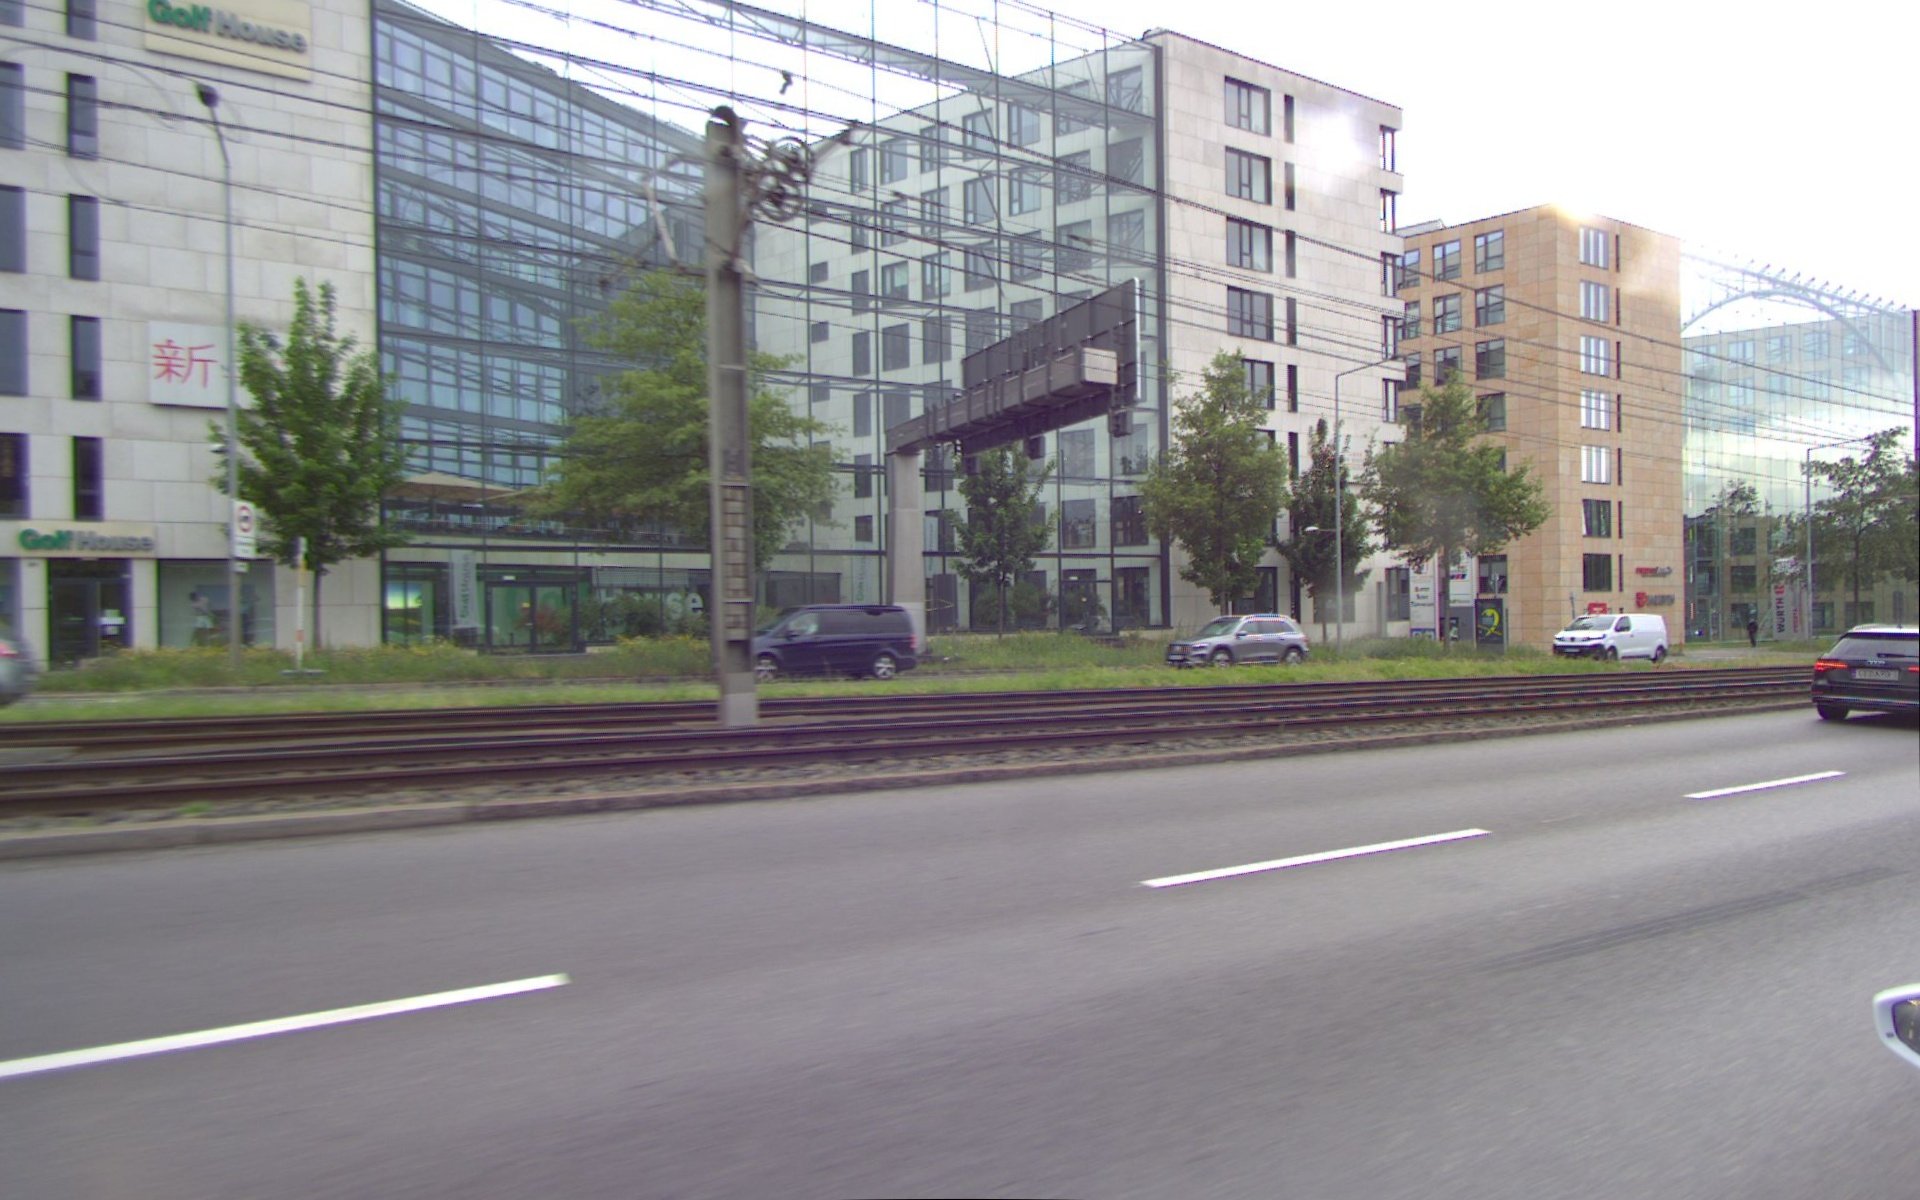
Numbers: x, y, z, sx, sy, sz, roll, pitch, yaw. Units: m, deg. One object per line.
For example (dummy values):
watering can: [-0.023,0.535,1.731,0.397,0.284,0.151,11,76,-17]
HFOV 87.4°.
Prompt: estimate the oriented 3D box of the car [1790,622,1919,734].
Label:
car: [14.520,1.092,14.993,4.750,1.432,1.777,1,0,-31]

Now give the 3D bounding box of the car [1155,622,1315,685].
car: [7.918,1.486,28.823,4.436,1.627,1.802,1,0,-29]

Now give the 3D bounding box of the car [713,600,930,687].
car: [-3.479,1.065,25.566,5.070,1.978,2.049,1,1,-29]

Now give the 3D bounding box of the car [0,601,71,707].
car: [-16.299,0.783,15.000,4.227,1.554,1.800,1,0,-32]

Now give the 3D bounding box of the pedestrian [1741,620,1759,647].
pedestrian: [49.520,2.125,62.962,0.823,1.653,0.638,3,0,-32]

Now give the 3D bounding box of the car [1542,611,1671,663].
car: [24.242,1.365,37.634,5.001,1.785,1.929,1,0,-29]
